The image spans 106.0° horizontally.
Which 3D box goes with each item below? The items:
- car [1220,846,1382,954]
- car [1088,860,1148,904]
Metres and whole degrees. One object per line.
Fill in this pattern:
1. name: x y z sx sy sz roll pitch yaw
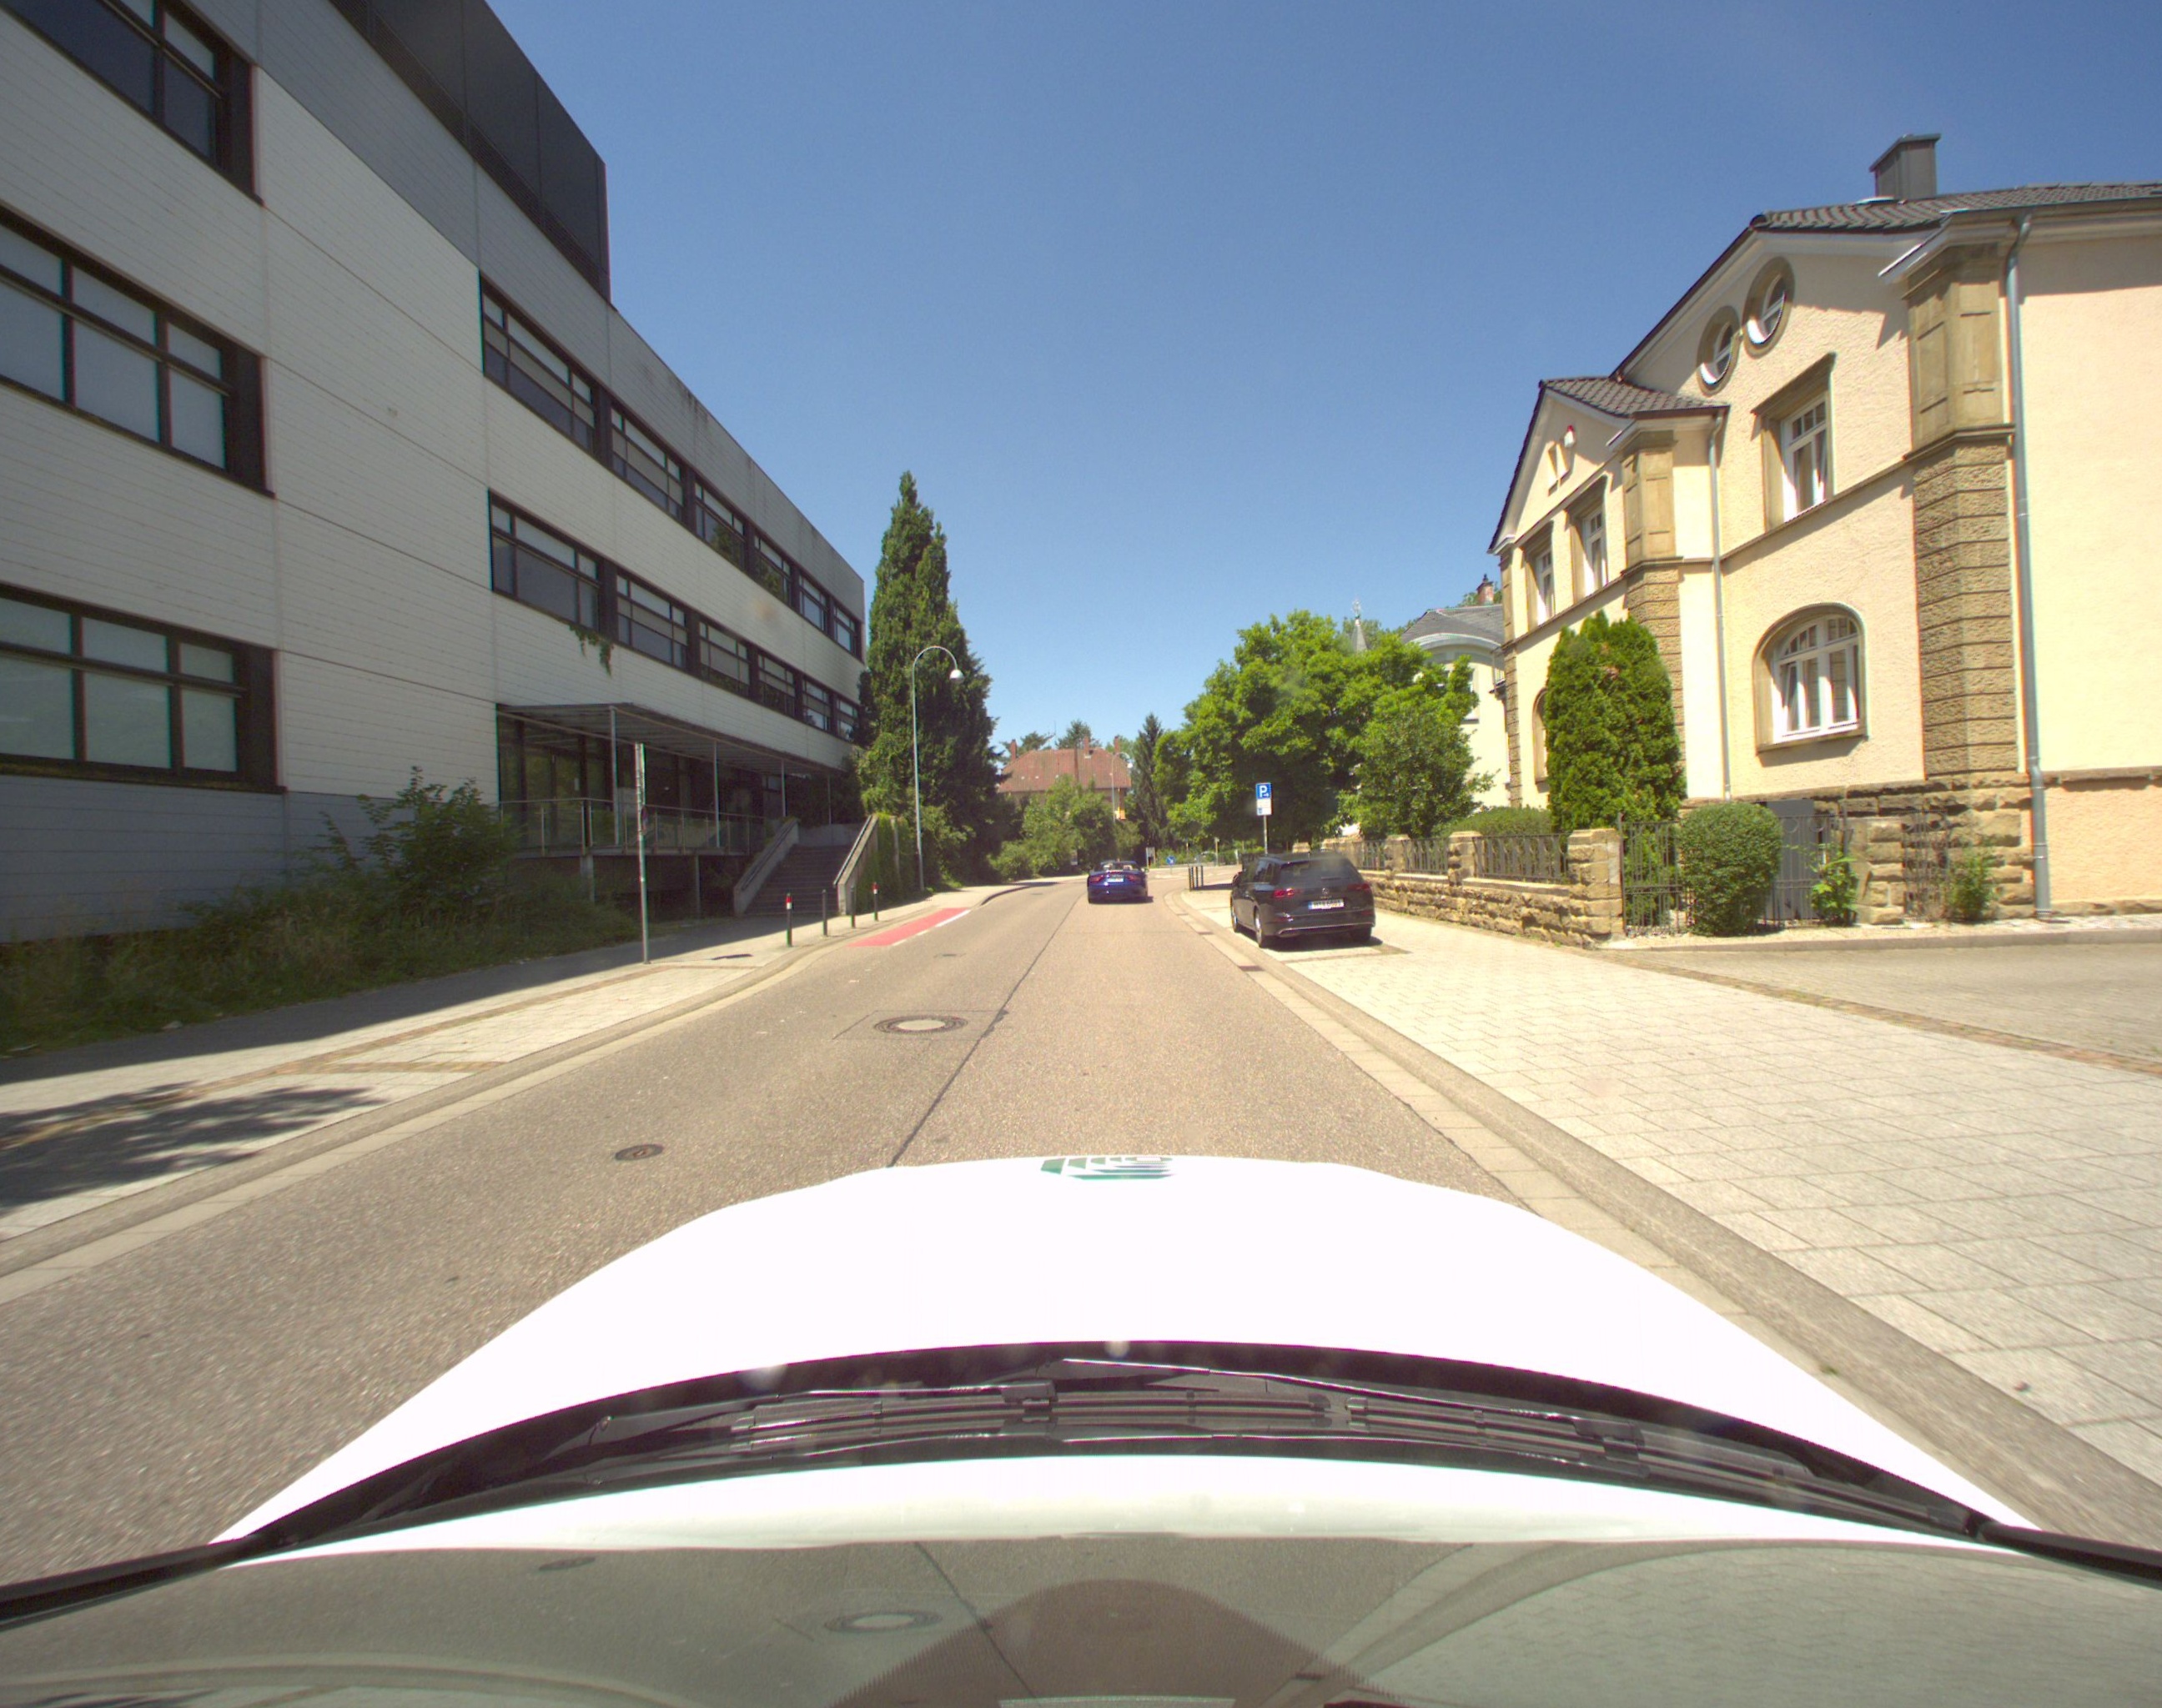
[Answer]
1. car: 3.588 0.678 14.092 1.625 1.446 4.399 -5 0 2
2. car: 1.231 0.888 27.561 1.820 1.337 4.702 -1 0 2
